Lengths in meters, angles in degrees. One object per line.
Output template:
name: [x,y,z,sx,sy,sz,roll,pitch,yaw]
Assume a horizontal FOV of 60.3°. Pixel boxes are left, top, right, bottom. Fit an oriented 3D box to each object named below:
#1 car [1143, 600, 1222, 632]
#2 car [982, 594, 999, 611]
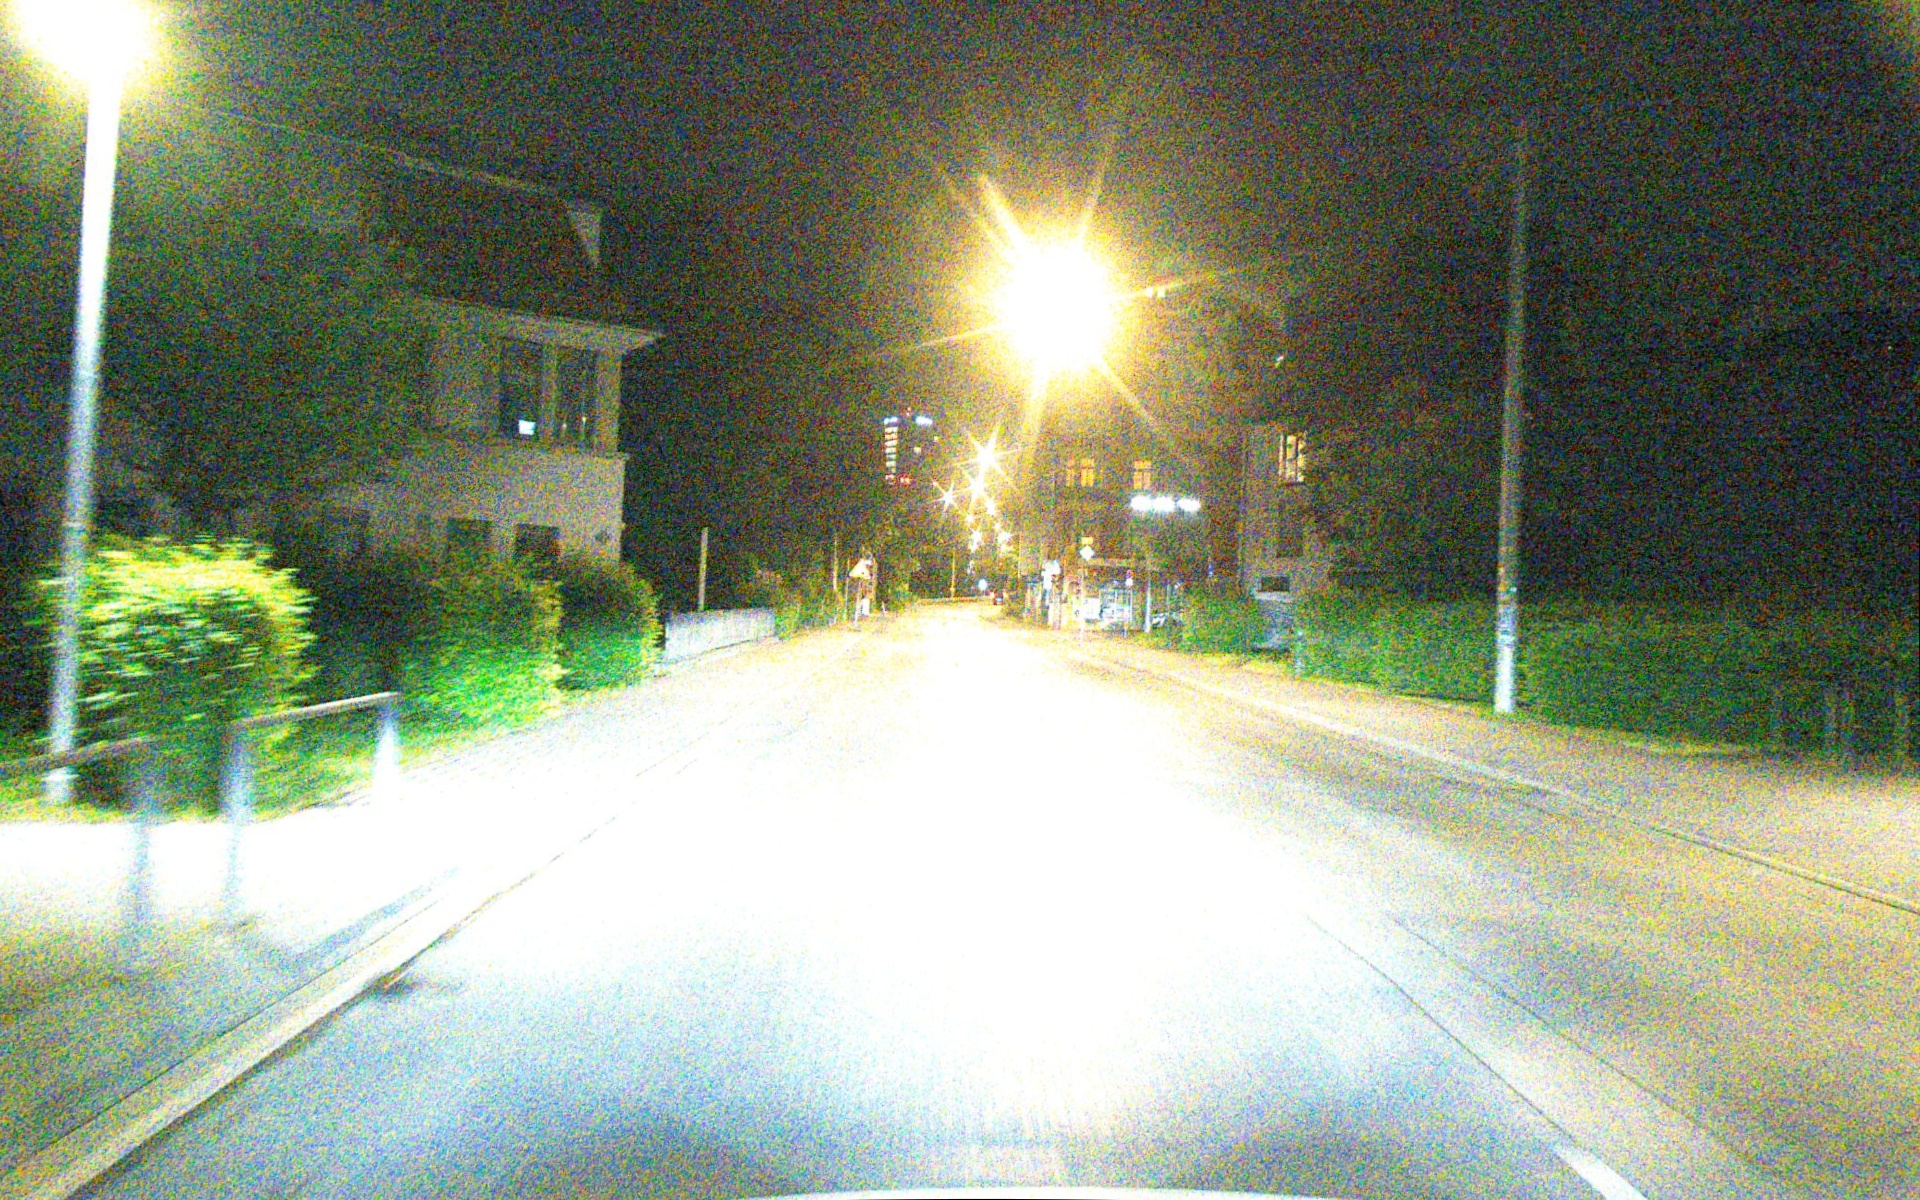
car: [11.438,0.815,85.180,3.762,1.571,1.807,2,0,-4]
car: [3.654,0.302,198.461,1.885,1.887,3.999,1,-2,-1]
